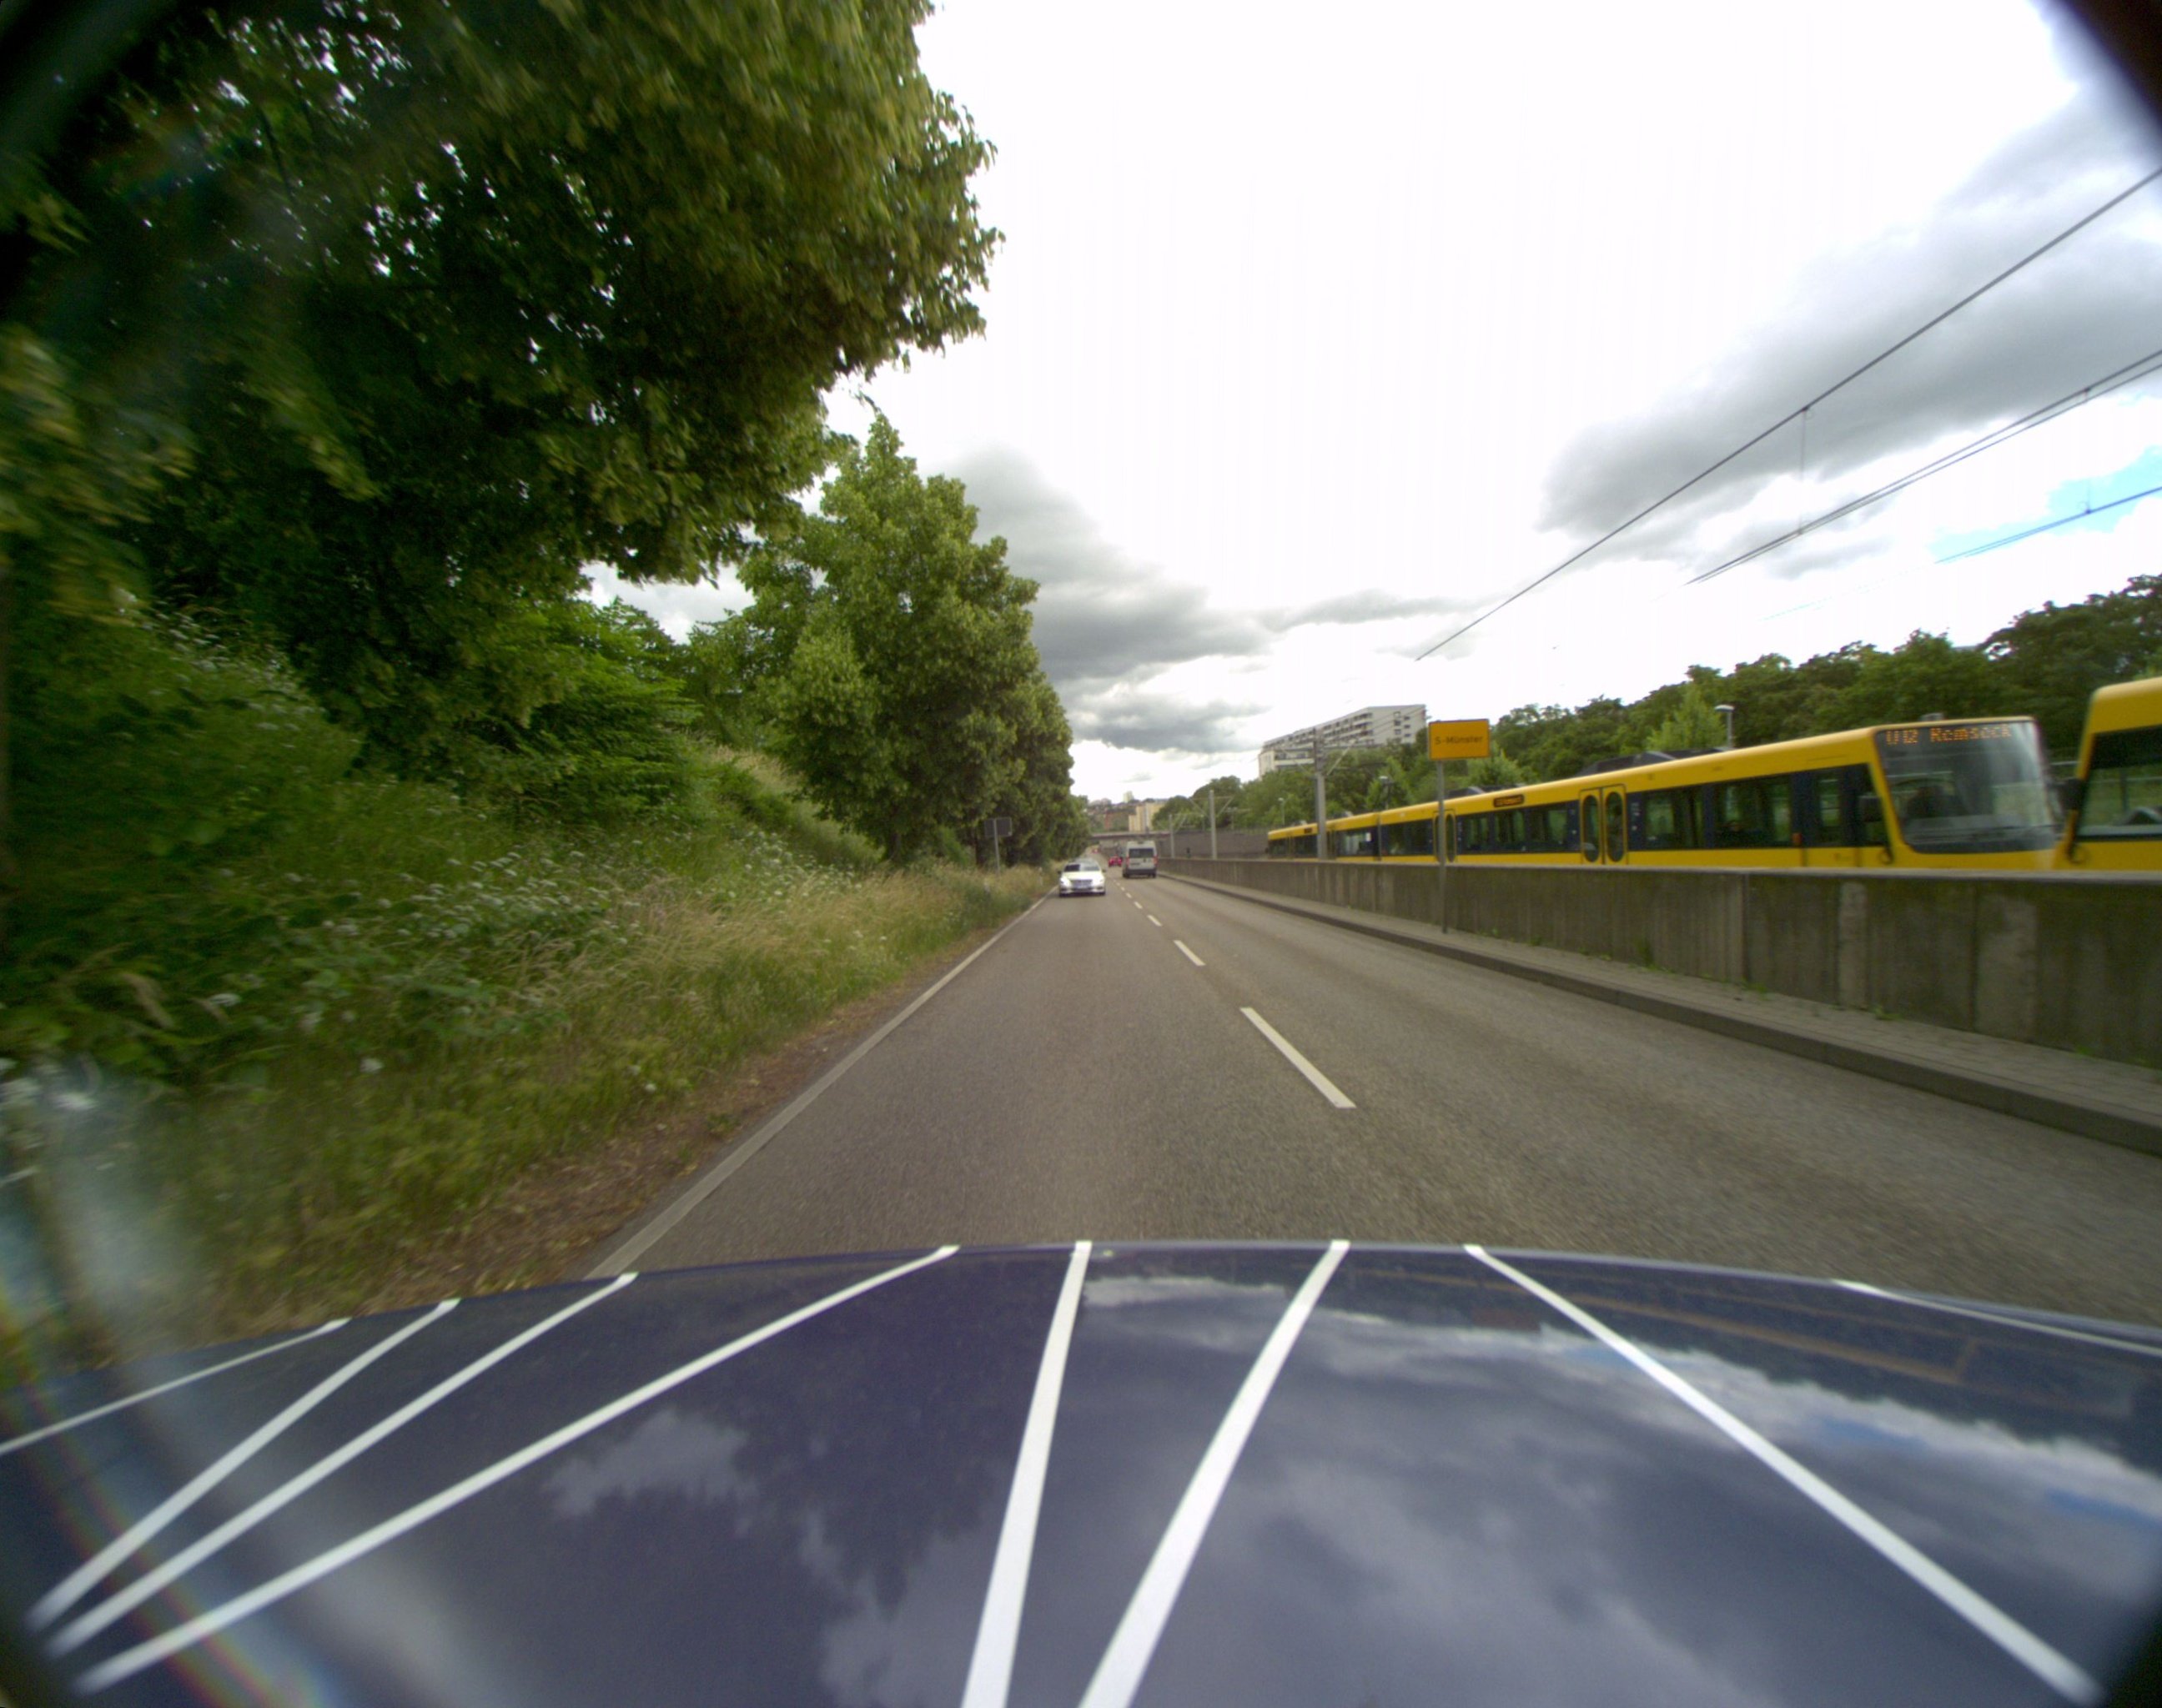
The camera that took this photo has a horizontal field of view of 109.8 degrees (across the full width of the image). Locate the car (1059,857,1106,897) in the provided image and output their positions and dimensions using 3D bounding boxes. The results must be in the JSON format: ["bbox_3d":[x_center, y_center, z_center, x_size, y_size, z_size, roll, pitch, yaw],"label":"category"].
[{"bbox_3d":[0.090,0.909,32.097,1.842,1.499,4.160,-1,0,1],"label":"car"}]

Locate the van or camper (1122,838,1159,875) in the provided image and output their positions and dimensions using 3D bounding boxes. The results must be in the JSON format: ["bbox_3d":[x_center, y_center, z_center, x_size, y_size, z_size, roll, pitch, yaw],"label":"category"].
[{"bbox_3d":[4.123,0.184,53.461,2.088,2.382,6.137,-2,0,1],"label":"van or camper"}]

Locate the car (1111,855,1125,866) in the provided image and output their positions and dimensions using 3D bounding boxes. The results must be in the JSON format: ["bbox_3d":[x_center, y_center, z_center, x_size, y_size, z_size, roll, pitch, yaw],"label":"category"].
[{"bbox_3d":[5.160,0.875,105.690,1.667,1.536,3.952,-2,0,0],"label":"car"}]

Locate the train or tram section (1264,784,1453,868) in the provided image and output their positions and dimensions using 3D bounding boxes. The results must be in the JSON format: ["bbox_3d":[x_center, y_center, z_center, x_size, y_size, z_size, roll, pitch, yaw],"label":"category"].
[{"bbox_3d":[12.791,-1.179,38.256,2.818,3.099,18.913,-2,1,1],"label":"train or tram section"}]

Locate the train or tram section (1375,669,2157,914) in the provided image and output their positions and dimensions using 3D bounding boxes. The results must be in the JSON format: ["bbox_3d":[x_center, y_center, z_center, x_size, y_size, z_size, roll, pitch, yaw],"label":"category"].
[{"bbox_3d":[12.542,-0.922,19.340,2.811,3.059,19.099,-2,1,1],"label":"train or tram section"}]
